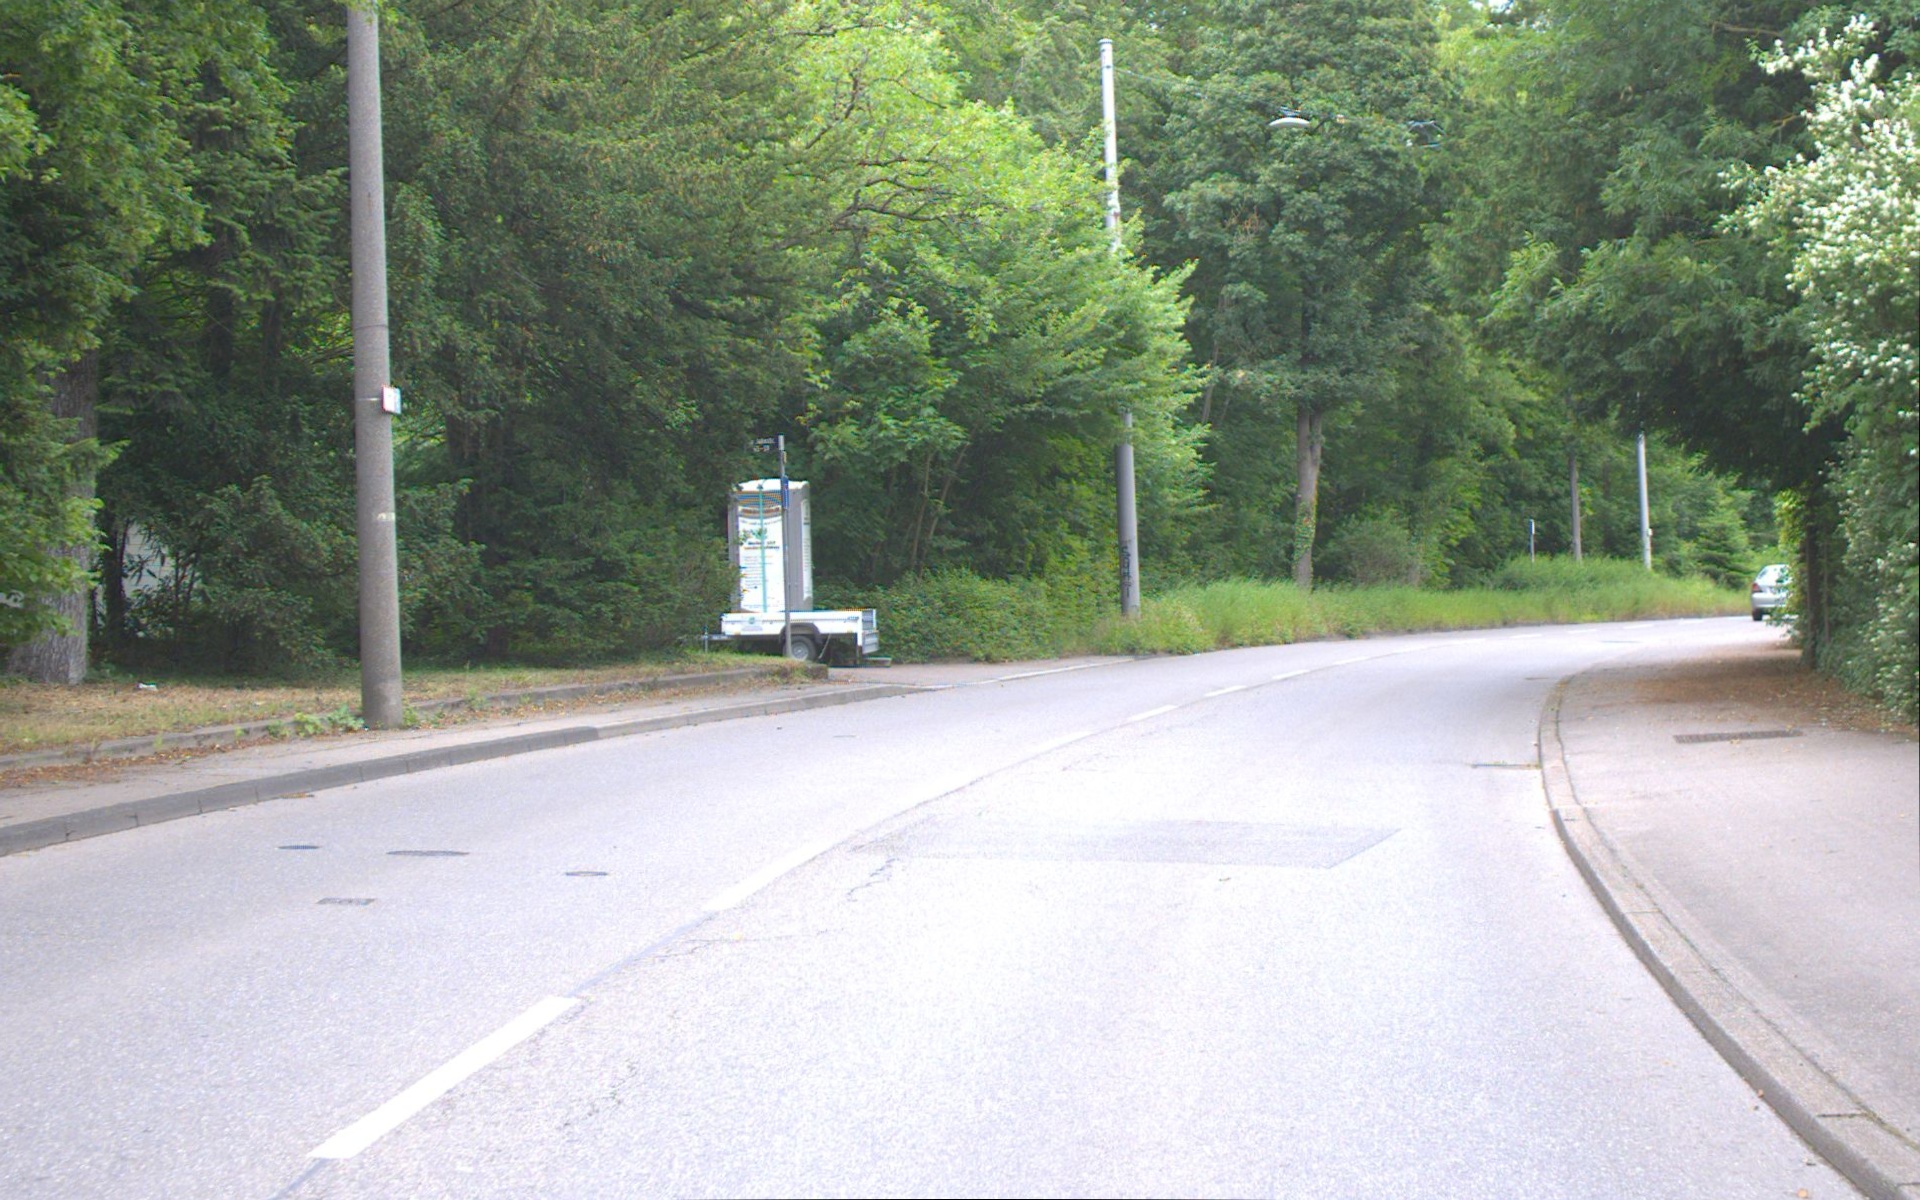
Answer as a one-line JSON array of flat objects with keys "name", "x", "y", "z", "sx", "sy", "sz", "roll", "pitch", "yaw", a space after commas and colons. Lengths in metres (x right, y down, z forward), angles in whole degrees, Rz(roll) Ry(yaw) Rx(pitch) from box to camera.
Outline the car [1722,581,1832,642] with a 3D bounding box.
[{"name": "car", "x": 20.805, "y": 0.270, "z": 87.448, "sx": 1.996, "sy": 1.481, "sz": 3.995, "roll": -1, "pitch": 0, "yaw": 24}]

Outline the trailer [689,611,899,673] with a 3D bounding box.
[{"name": "trailer", "x": -2.409, "y": 0.607, "z": 50.421, "sx": 2.955, "sy": 0.826, "sz": 1.476, "roll": -1, "pitch": 0, "yaw": 2}]
